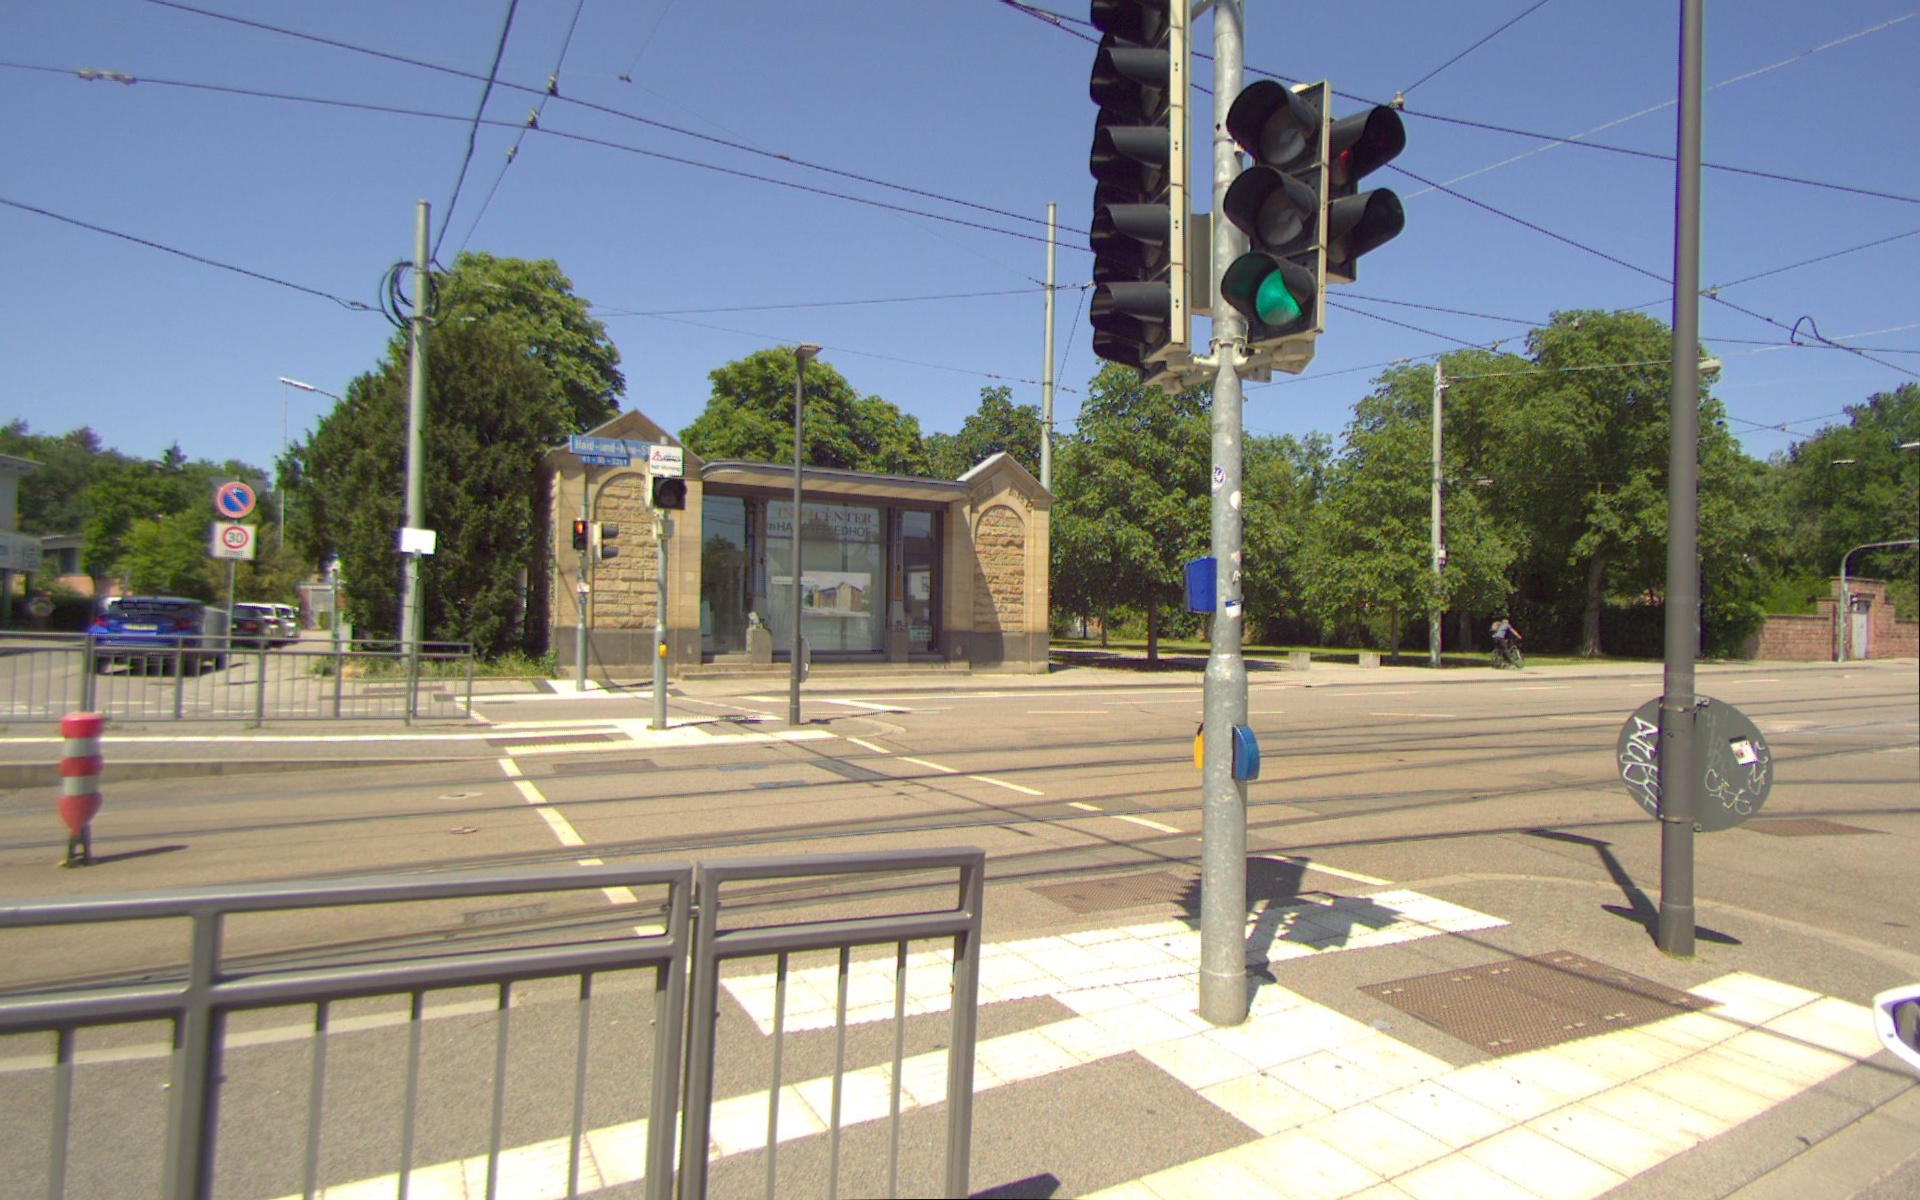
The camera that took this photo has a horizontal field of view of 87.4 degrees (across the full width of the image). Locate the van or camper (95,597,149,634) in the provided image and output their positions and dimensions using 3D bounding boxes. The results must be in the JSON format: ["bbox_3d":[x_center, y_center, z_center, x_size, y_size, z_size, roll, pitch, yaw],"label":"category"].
[{"bbox_3d":[-38.363,0.712,46.065,1.676,1.587,3.786,2,-1,-37],"label":"van or camper"}]

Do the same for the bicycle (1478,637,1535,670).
[{"bbox_3d":[18.621,1.819,34.237,2.077,1.055,0.712,2,-1,-29],"label":"bicycle"}]

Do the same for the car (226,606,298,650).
[{"bbox_3d":[-24.675,1.011,35.624,1.624,1.465,3.785,2,-2,-28],"label":"car"}]

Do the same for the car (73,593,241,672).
[{"bbox_3d":[-16.523,0.647,20.898,1.799,1.471,3.934,1,-1,-25],"label":"car"}]

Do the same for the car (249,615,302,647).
[{"bbox_3d":[-27.365,1.257,40.244,1.404,1.200,3.338,2,-2,-29],"label":"car"}]

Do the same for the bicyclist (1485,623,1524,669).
[{"bbox_3d":[18.551,1.553,34.204,0.835,1.551,0.847,1,-1,-28],"label":"bicyclist"}]

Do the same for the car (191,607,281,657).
[{"bbox_3d":[-21.705,0.969,30.229,1.624,1.388,3.786,2,-2,-28],"label":"car"}]
